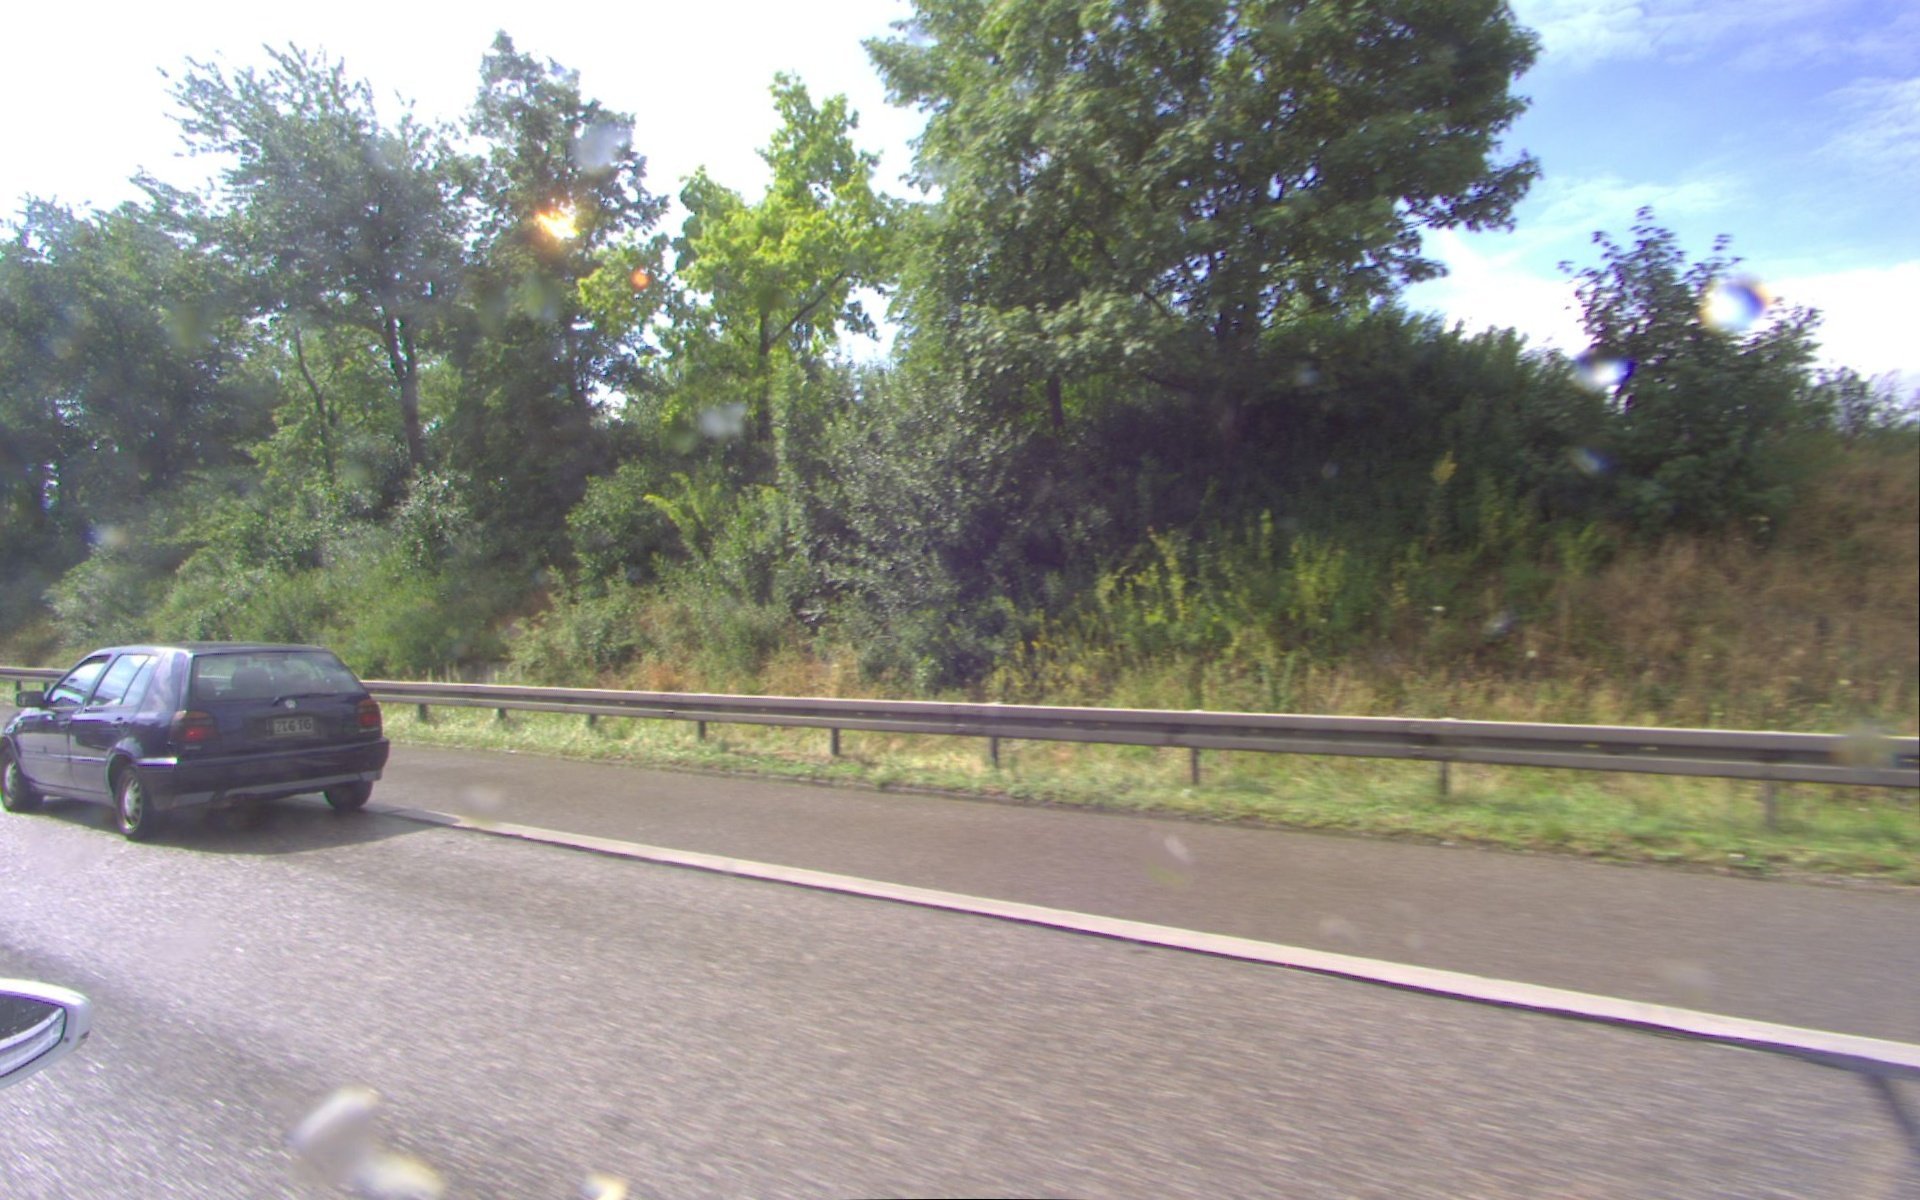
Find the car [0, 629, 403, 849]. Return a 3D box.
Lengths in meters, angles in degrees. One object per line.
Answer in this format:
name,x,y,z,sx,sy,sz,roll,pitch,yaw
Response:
car,-6.543,0.994,8.441,3.690,1.475,1.648,-1,-1,31
